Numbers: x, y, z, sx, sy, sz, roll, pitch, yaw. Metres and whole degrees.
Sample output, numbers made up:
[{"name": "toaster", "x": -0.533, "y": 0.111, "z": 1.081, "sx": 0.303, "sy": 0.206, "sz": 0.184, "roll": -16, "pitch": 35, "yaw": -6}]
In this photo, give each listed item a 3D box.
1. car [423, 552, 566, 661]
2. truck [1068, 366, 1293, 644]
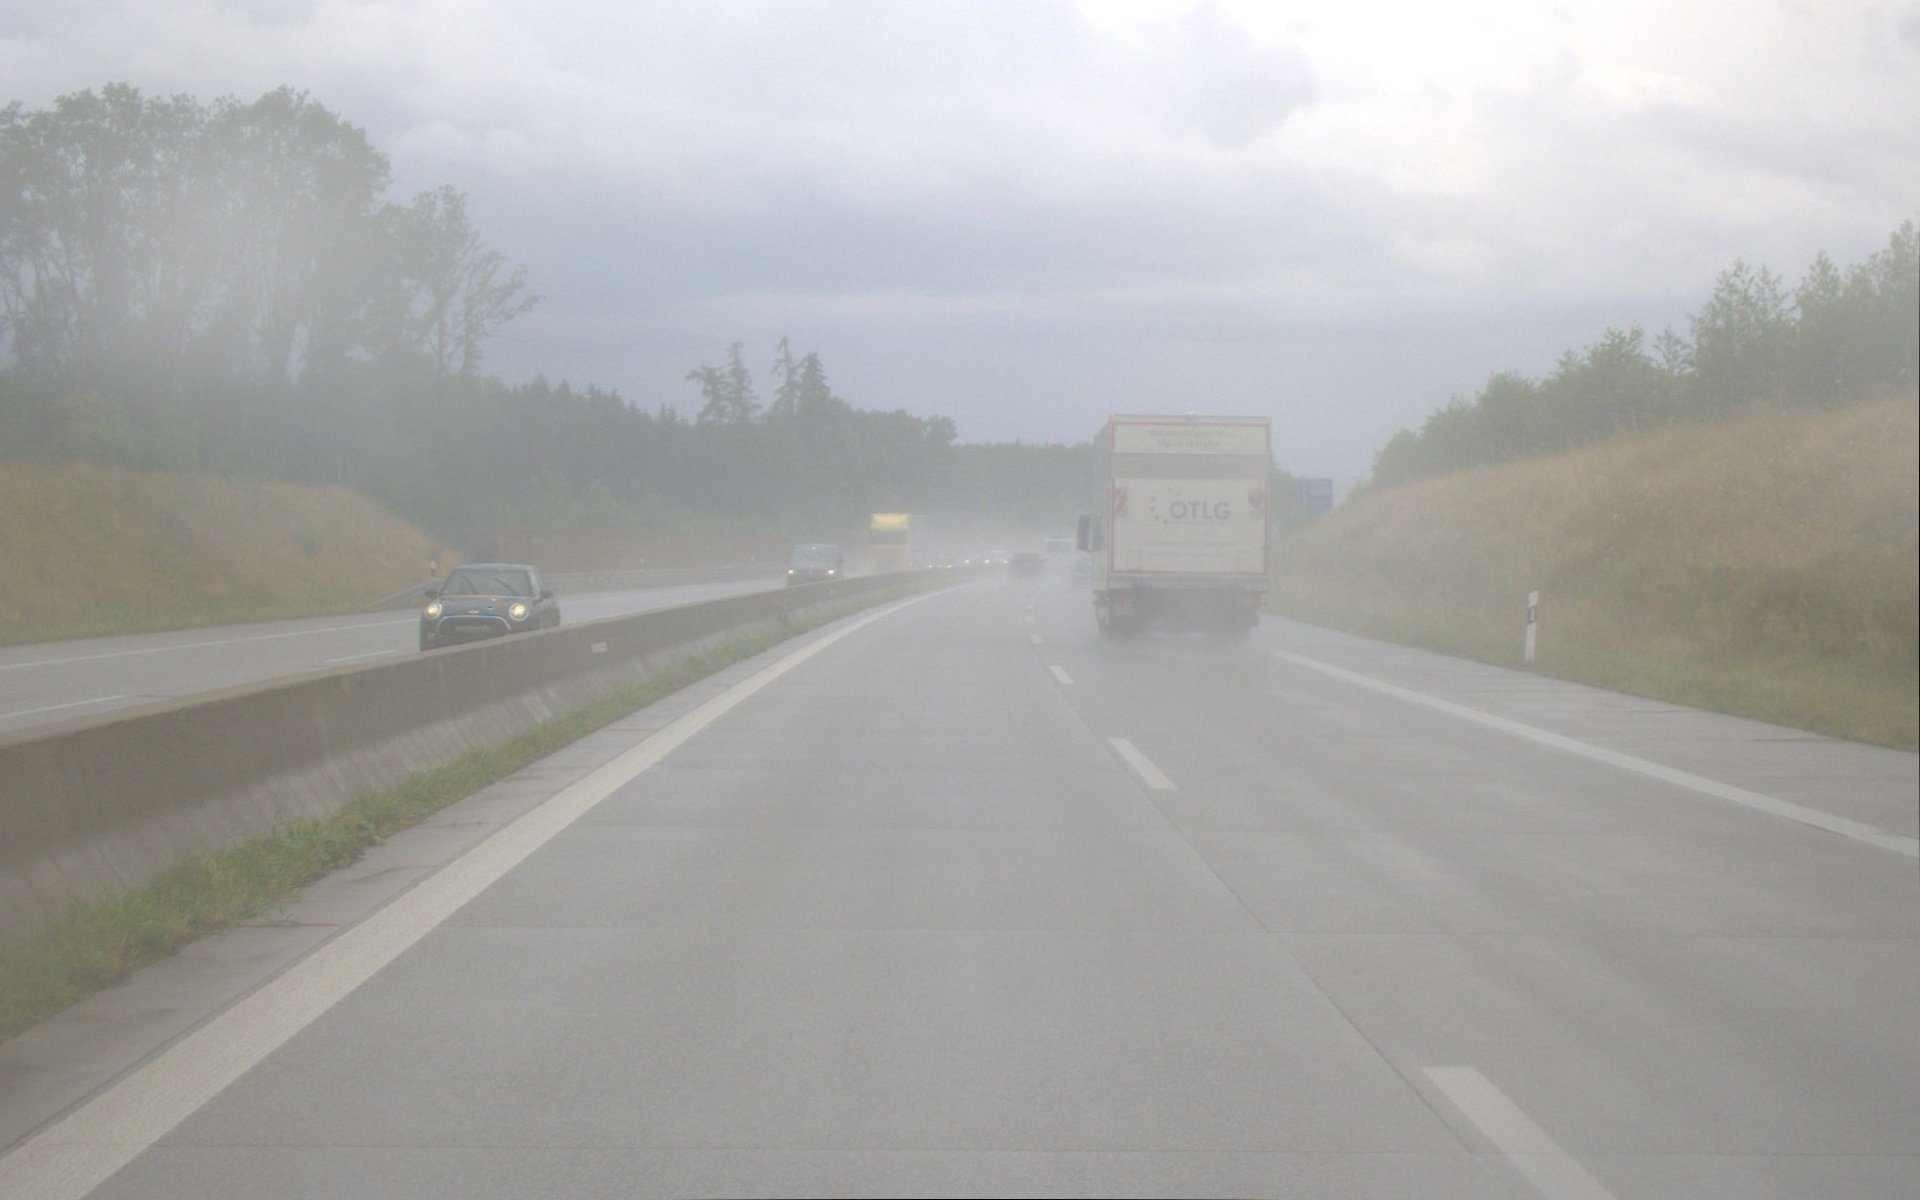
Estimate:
[{"name": "car", "x": -7.043, "y": 0.071, "z": 52.331, "sx": 1.623, "sy": 1.423, "sz": 4.001, "roll": -2, "pitch": 3, "yaw": 0}, {"name": "truck", "x": 3.633, "y": -1.647, "z": 58.770, "sx": 3.243, "sy": 4.421, "sz": 8.247, "roll": 0, "pitch": 2, "yaw": 0}]
